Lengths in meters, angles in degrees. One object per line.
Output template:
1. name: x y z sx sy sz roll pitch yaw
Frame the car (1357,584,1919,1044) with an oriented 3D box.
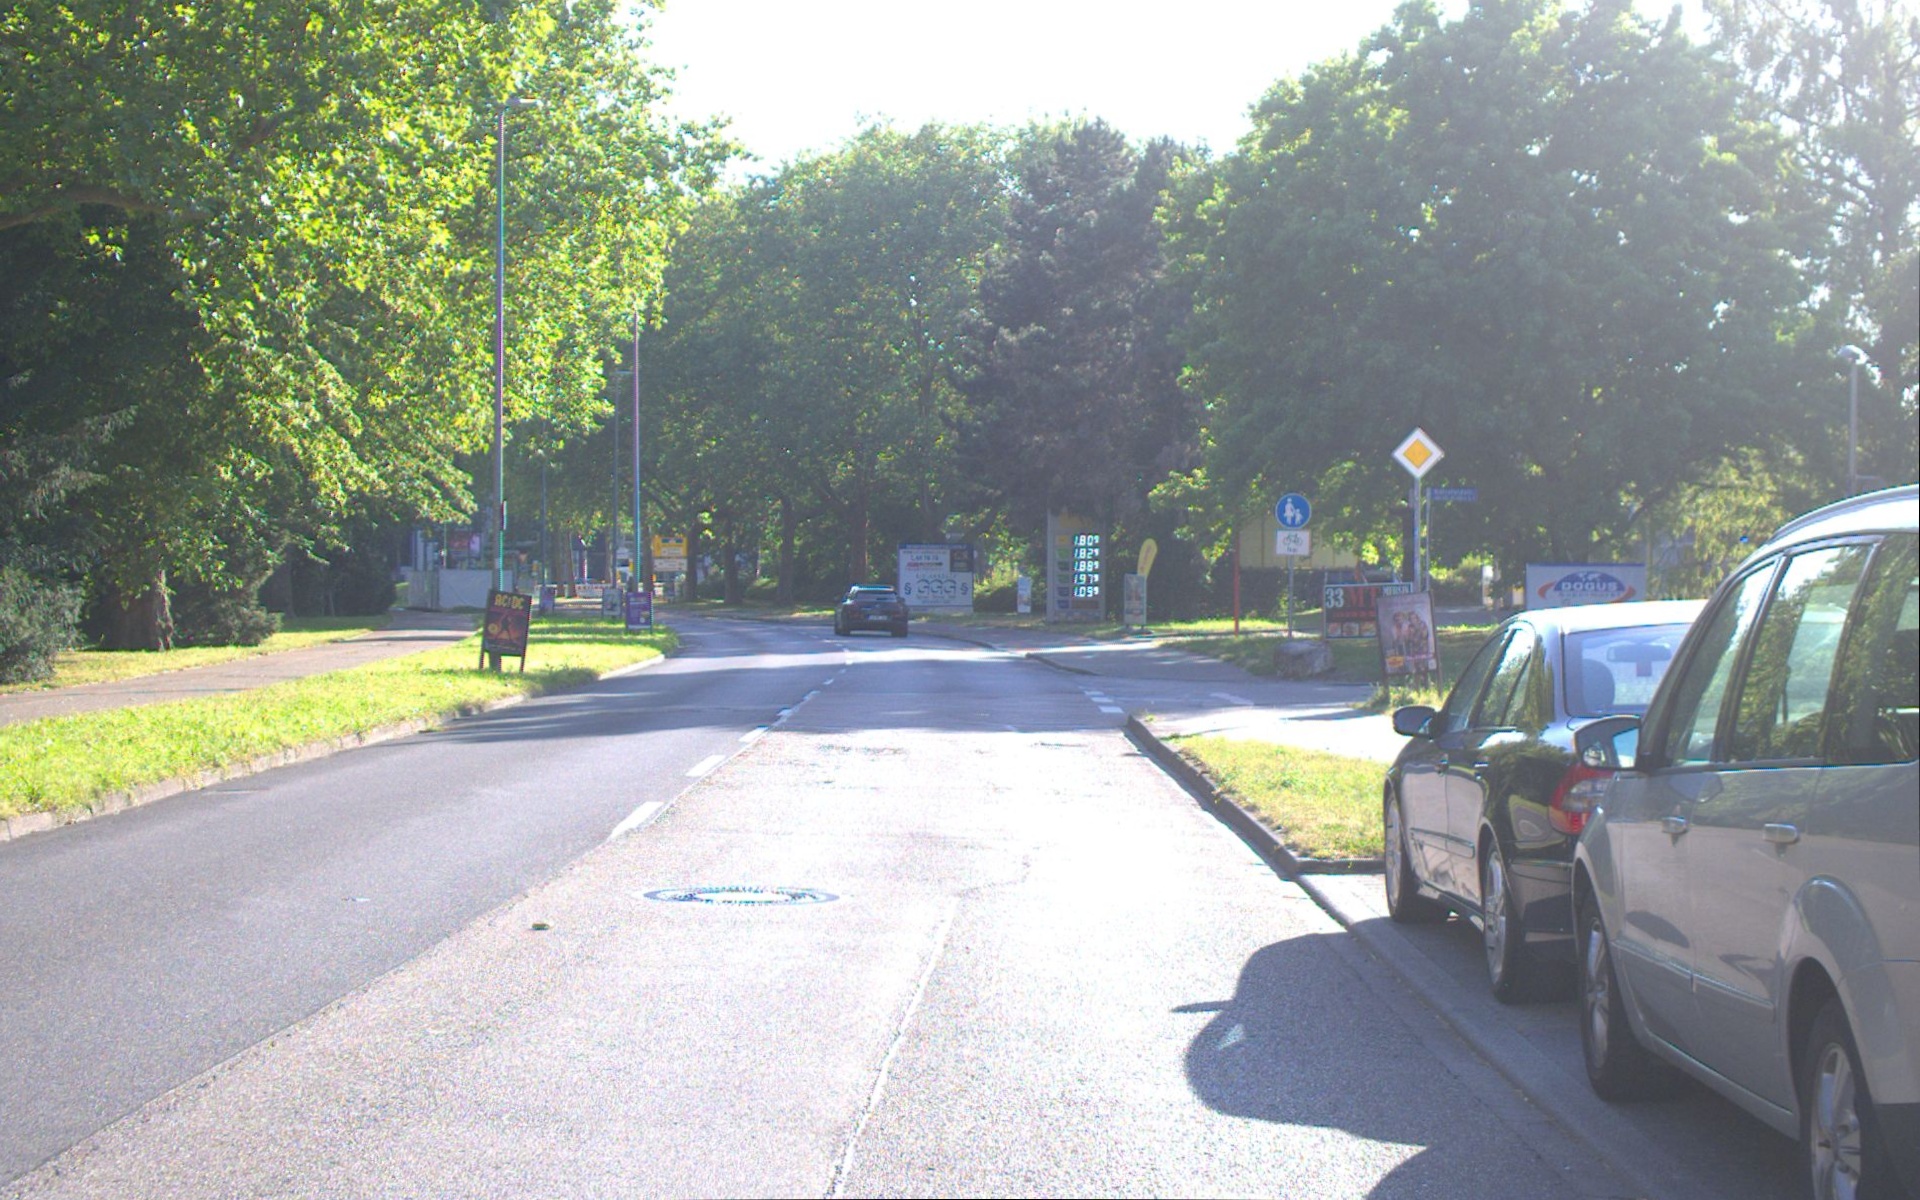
1. car: 2.777 0.705 13.838 1.782 1.510 4.689 -1 0 0

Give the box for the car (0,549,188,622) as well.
1. car: -19.450 -0.330 77.055 3.986 1.503 1.913 2 0 -7

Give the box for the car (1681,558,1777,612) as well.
1. car: 25.731 -0.534 115.172 1.812 1.722 4.400 0 1 -7

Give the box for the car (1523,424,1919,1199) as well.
1. car: 2.827 0.517 8.625 1.993 1.753 4.917 -1 0 0

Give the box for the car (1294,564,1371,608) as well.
1. car: 12.295 -0.484 113.602 1.841 1.415 4.001 0 0 -4

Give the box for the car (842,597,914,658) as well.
1. car: -2.234 0.739 94.718 1.839 1.600 3.863 0 0 1
